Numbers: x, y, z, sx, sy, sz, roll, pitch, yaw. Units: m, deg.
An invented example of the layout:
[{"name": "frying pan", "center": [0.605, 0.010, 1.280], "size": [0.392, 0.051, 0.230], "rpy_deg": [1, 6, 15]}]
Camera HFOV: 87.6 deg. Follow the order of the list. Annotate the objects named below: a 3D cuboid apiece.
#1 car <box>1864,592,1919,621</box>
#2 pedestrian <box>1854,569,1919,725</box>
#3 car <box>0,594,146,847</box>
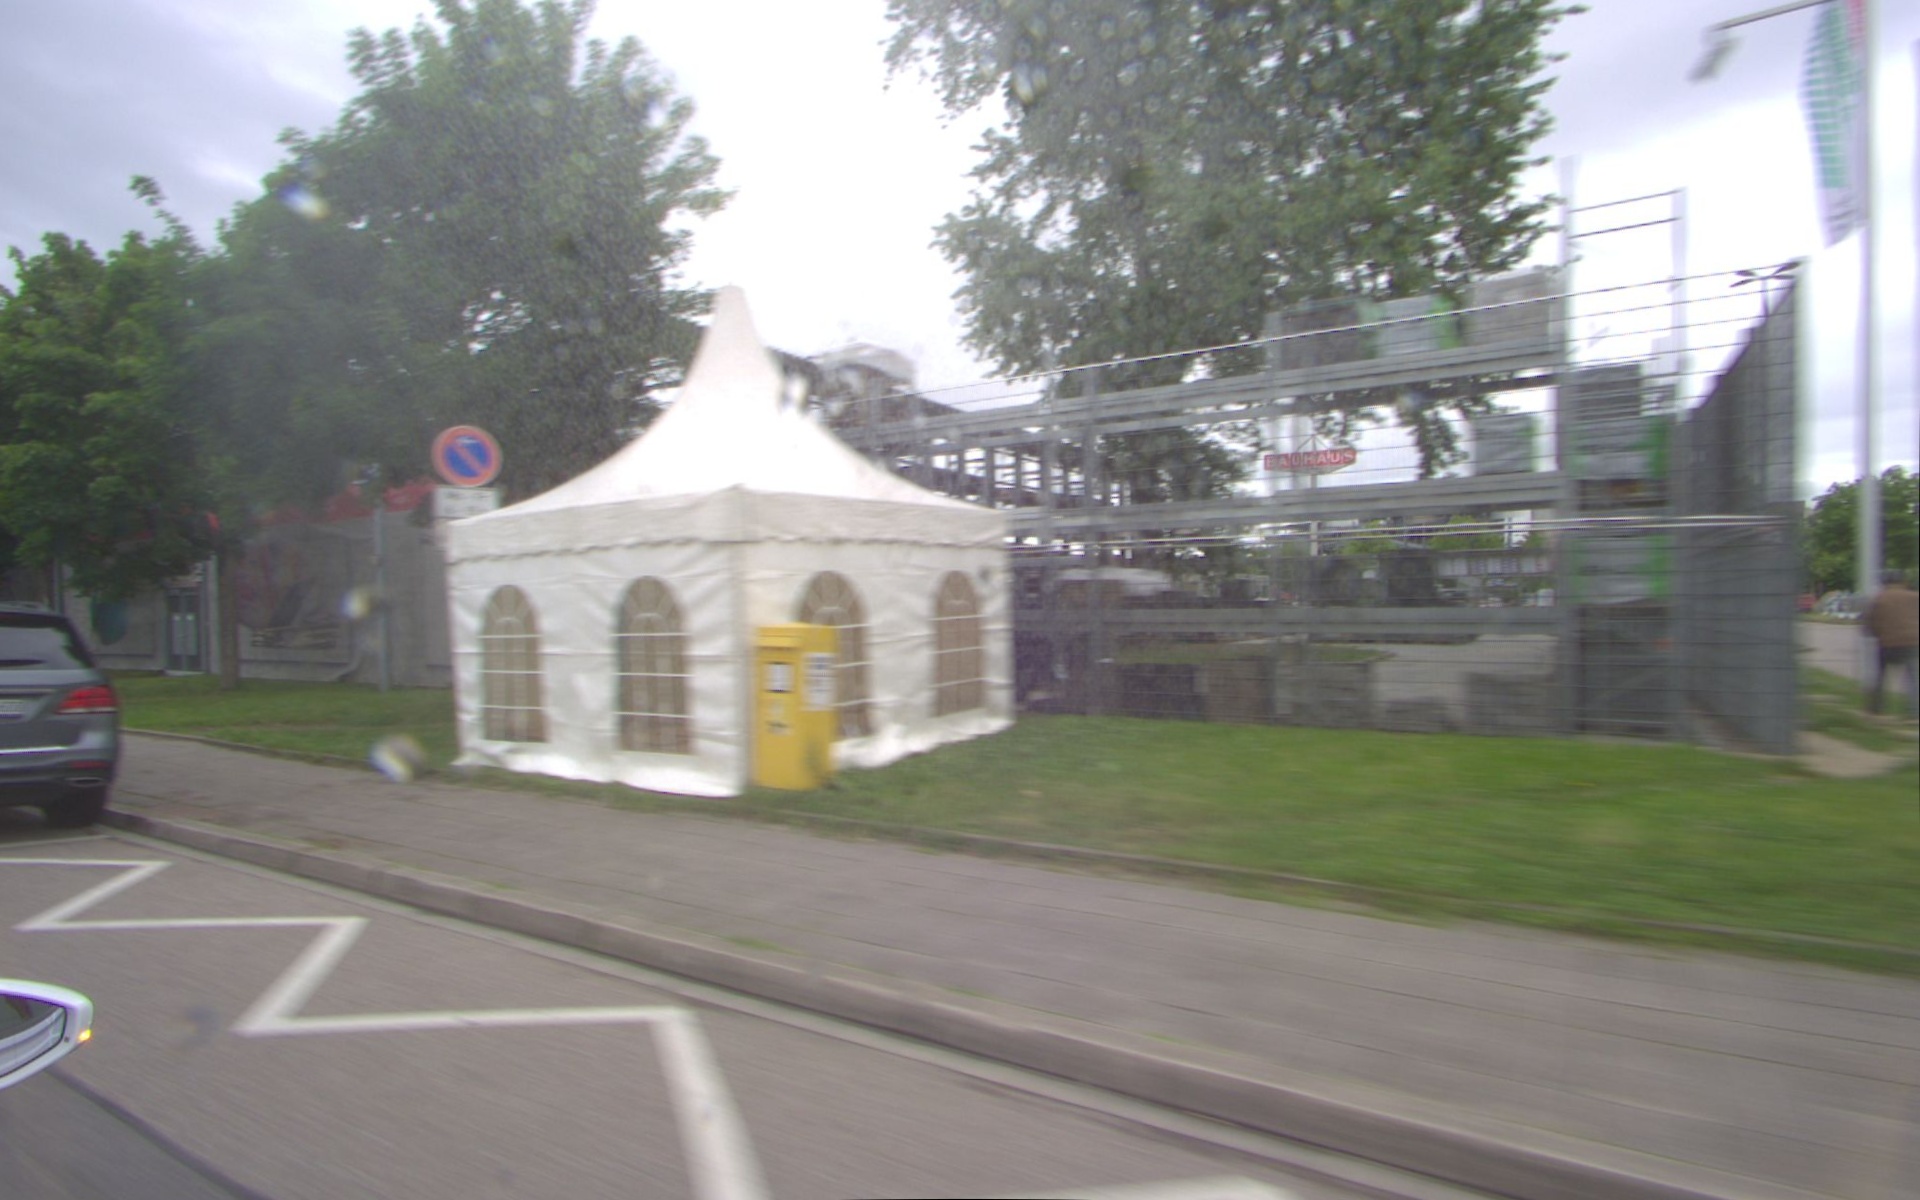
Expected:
[{"name": "car", "center": [52.991, 0.369, 55.958], "size": [3.439, 1.544, 1.632], "rpy_deg": [-2, -2, 34]}, {"name": "pedestrian", "center": [10.441, 0.505, 11.079], "size": [0.688, 1.670, 0.822], "rpy_deg": [0, 1, 32]}, {"name": "car", "center": [-8.609, 0.860, 8.055], "size": [4.417, 1.762, 1.906], "rpy_deg": [-1, -3, 33]}]
